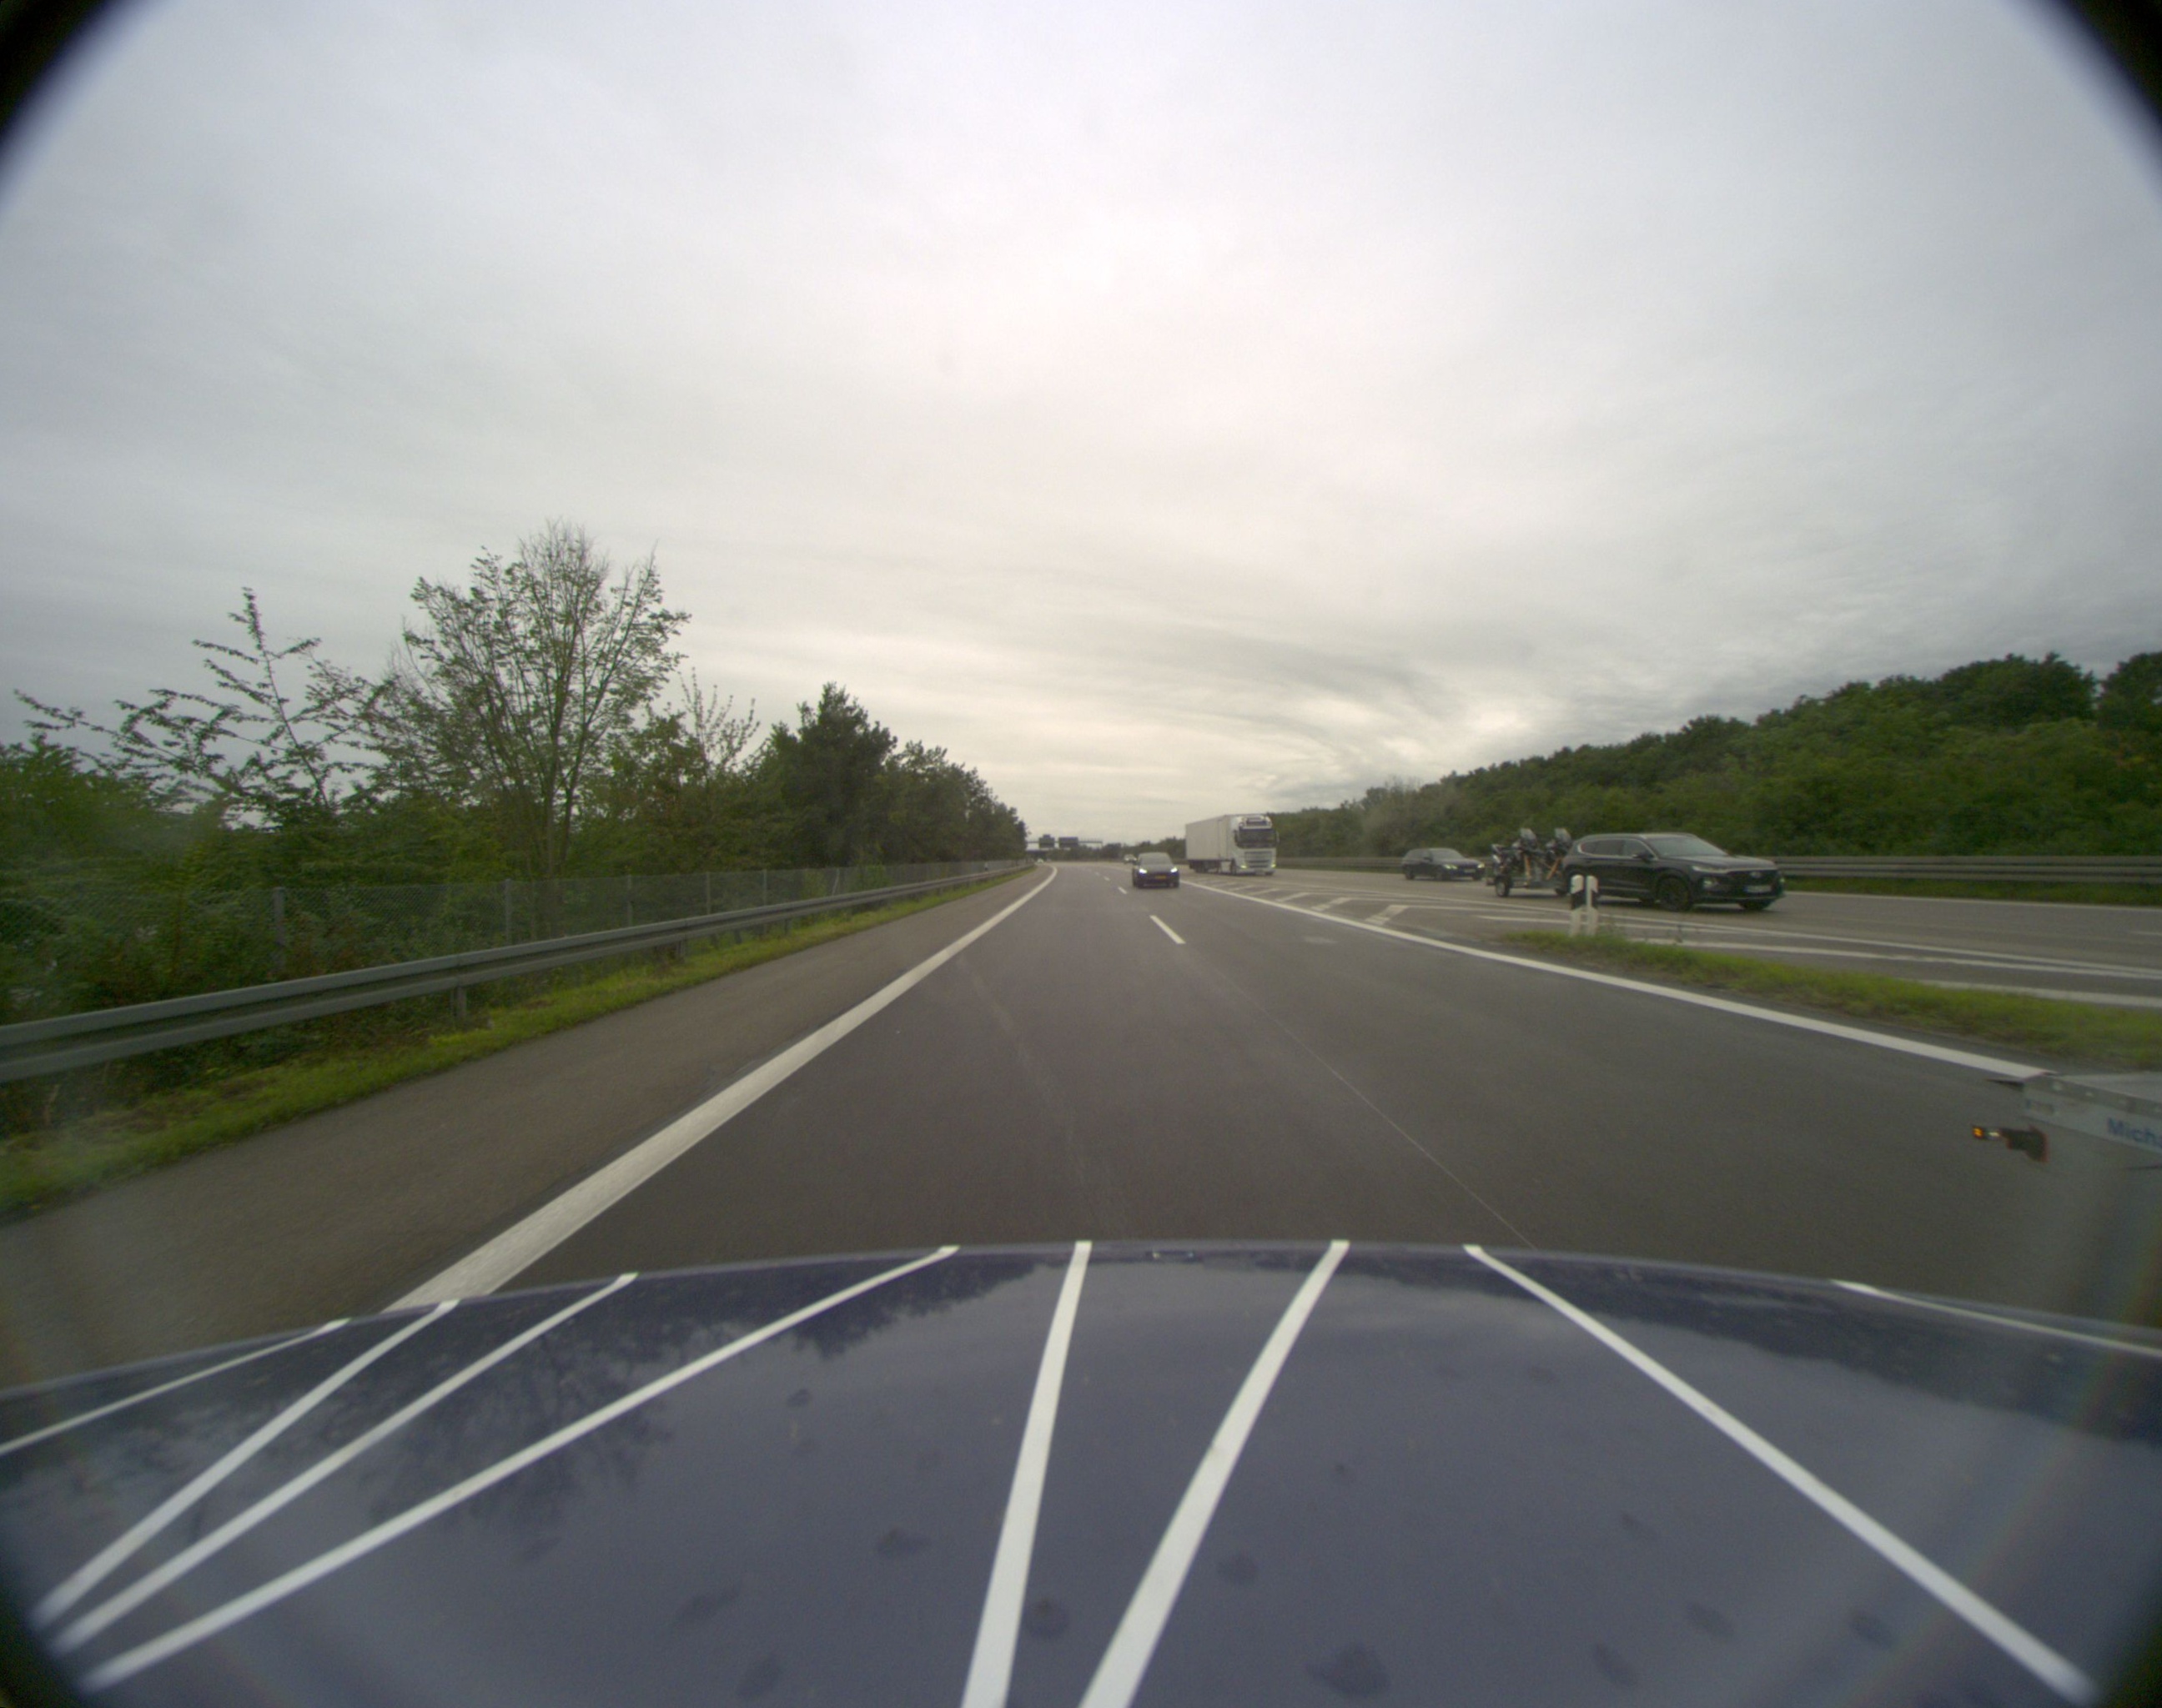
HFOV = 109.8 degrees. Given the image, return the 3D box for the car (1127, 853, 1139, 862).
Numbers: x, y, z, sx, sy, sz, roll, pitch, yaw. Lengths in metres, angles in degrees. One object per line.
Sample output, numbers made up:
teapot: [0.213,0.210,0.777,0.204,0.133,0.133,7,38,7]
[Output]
car: [9.963,0.666,145.851,1.903,1.641,4.484,-2,0,-1]

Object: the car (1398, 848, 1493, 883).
car: [16.186,0.472,34.023,1.808,1.383,4.773,-2,1,-2]

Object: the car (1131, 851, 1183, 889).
car: [3.522,0.703,36.121,1.966,1.628,4.553,-2,1,0]

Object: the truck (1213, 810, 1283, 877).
truck: [10.981,-0.659,50.682,2.774,4.111,6.443,-3,0,-3]

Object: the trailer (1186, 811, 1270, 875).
trailer: [10.676,-0.721,57.202,2.774,4.111,13.947,-3,0,-3]

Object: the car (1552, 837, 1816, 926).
car: [12.949,0.489,16.833,1.887,1.617,4.805,-2,1,-2]

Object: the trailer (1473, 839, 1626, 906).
trailer: [12.787,0.447,21.005,1.887,1.617,3.609,-2,1,-2]
